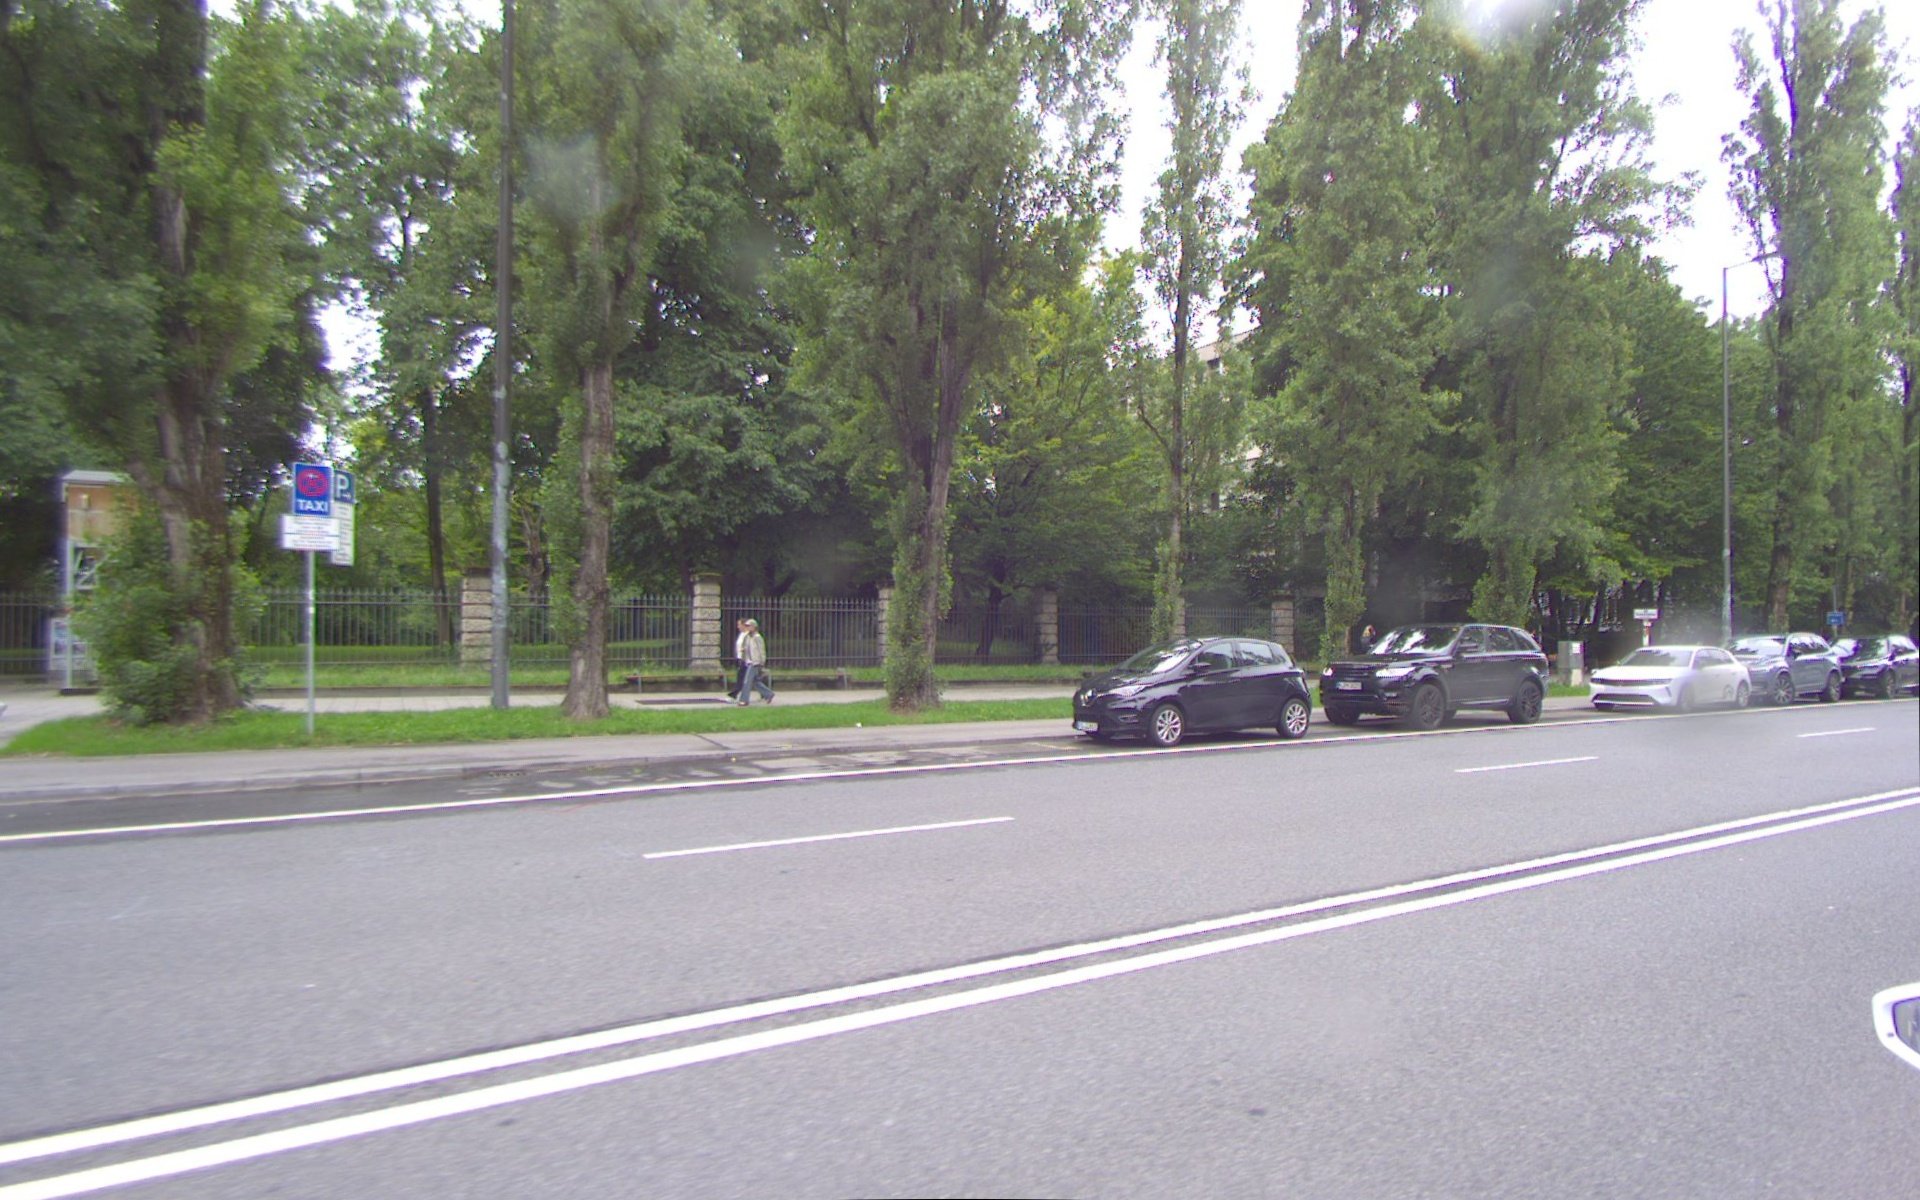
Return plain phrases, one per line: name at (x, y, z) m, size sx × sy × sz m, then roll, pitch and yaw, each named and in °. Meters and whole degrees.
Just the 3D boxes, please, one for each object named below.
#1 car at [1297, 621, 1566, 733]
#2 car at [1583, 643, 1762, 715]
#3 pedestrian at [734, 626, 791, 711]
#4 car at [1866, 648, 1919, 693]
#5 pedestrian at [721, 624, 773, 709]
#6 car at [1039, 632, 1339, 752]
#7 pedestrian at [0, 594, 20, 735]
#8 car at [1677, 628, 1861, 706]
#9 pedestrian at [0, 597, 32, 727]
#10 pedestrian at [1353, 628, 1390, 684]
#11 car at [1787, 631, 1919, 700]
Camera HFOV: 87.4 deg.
car at (8.603, 1.354, 18.265) m, size 4.742 × 1.809 × 2.038 m, roll 2°, pitch -4°, yaw -30°
car at (16.038, 1.729, 22.575) m, size 4.223 × 1.478 × 1.696 m, roll 2°, pitch -4°, yaw -31°
pedestrian at (-3.751, 1.275, 19.035) m, size 0.866 × 1.569 × 0.714 m, roll 1°, pitch -2°, yaw -31°
car at (30.132, 2.162, 31.158) m, size 4.185 × 1.351 × 1.818 m, roll 1°, pitch -4°, yaw -31°
pedestrian at (-4.166, 1.286, 19.641) m, size 0.804 × 1.626 × 0.714 m, roll 1°, pitch -2°, yaw -31°
car at (3.545, 1.332, 15.398) m, size 4.337 × 1.604 × 1.936 m, roll 1°, pitch -4°, yaw -30°
pedestrian at (-13.315, 0.836, 13.314) m, size 1.080 × 1.858 × 0.706 m, roll 2°, pitch -1°, yaw -31°
car at (20.474, 1.672, 25.372) m, size 5.120 × 1.812 × 1.901 m, roll 2°, pitch -4°, yaw -31°
pedestrian at (-13.732, 0.847, 13.940) m, size 1.080 × 1.796 × 0.706 m, roll 2°, pitch -1°, yaw -31°
pedestrian at (13.232, 1.796, 32.332) m, size 0.945 × 1.764 × 0.663 m, roll 1°, pitch -2°, yaw -30°
car at (25.493, 1.826, 28.271) m, size 4.841 × 1.790 × 1.931 m, roll 2°, pitch -4°, yaw -32°
